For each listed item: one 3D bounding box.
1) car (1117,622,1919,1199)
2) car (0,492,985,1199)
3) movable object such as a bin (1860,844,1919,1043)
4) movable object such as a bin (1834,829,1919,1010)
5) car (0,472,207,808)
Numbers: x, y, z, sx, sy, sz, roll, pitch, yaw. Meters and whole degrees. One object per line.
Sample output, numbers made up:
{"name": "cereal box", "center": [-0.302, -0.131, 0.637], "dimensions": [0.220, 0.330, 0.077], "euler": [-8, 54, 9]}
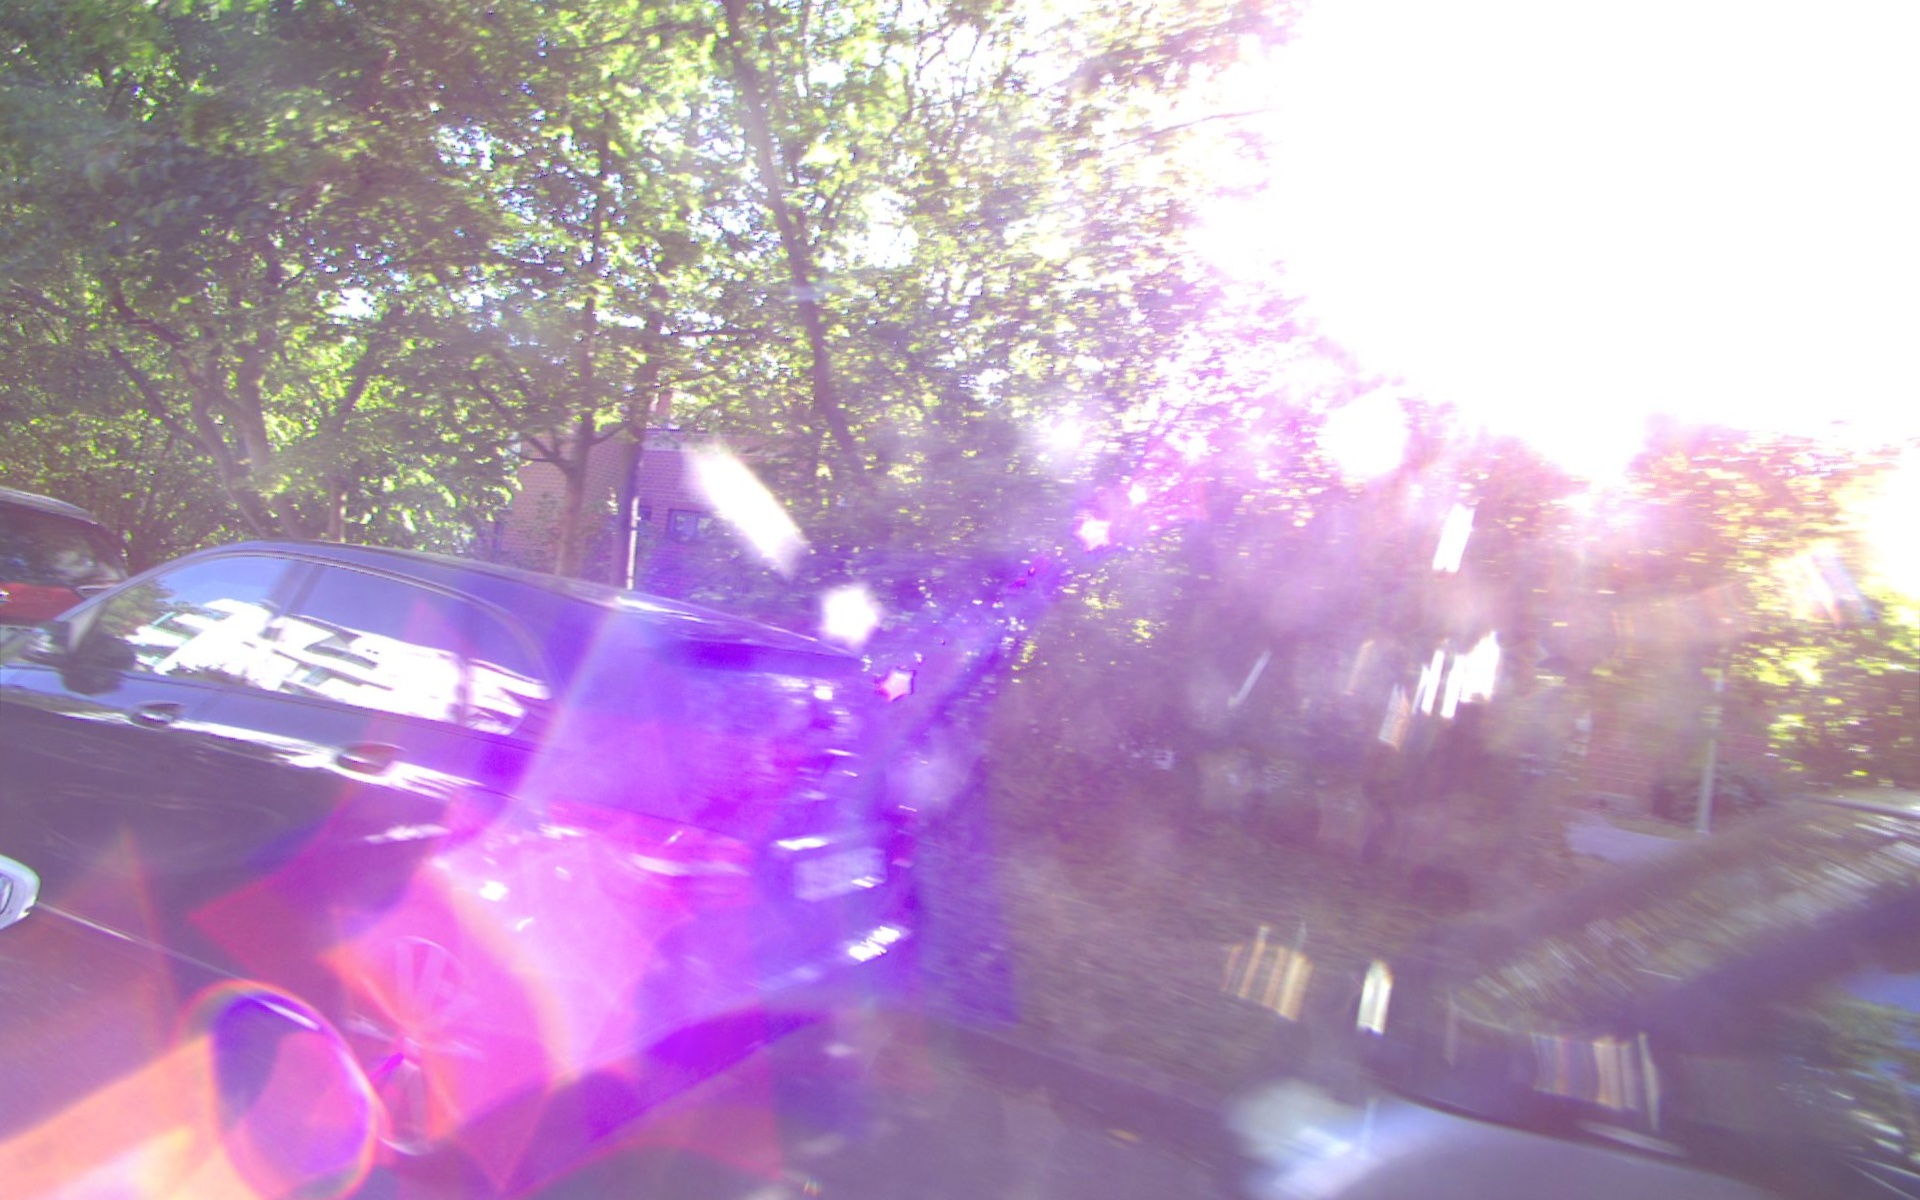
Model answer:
{"name": "car", "center": [1.758, 1.021, 1.613], "dimensions": [2.631, 1.526, 1.498], "euler": [7, -2, 29]}
{"name": "car", "center": [-2.192, 0.589, 3.762], "dimensions": [4.074, 1.526, 1.719], "euler": [8, -2, 24]}
{"name": "movable object such as a bin", "center": [5.180, 1.824, 5.356], "dimensions": [0.455, 0.891, 0.726], "euler": [0, -3, 32]}
{"name": "movable object such as a bin", "center": [5.572, 1.880, 5.978], "dimensions": [0.455, 0.891, 0.726], "euler": [0, -3, 32]}
{"name": "car", "center": [-6.341, -0.029, 5.638], "dimensions": [3.995, 1.591, 1.684], "euler": [7, -2, 28]}
